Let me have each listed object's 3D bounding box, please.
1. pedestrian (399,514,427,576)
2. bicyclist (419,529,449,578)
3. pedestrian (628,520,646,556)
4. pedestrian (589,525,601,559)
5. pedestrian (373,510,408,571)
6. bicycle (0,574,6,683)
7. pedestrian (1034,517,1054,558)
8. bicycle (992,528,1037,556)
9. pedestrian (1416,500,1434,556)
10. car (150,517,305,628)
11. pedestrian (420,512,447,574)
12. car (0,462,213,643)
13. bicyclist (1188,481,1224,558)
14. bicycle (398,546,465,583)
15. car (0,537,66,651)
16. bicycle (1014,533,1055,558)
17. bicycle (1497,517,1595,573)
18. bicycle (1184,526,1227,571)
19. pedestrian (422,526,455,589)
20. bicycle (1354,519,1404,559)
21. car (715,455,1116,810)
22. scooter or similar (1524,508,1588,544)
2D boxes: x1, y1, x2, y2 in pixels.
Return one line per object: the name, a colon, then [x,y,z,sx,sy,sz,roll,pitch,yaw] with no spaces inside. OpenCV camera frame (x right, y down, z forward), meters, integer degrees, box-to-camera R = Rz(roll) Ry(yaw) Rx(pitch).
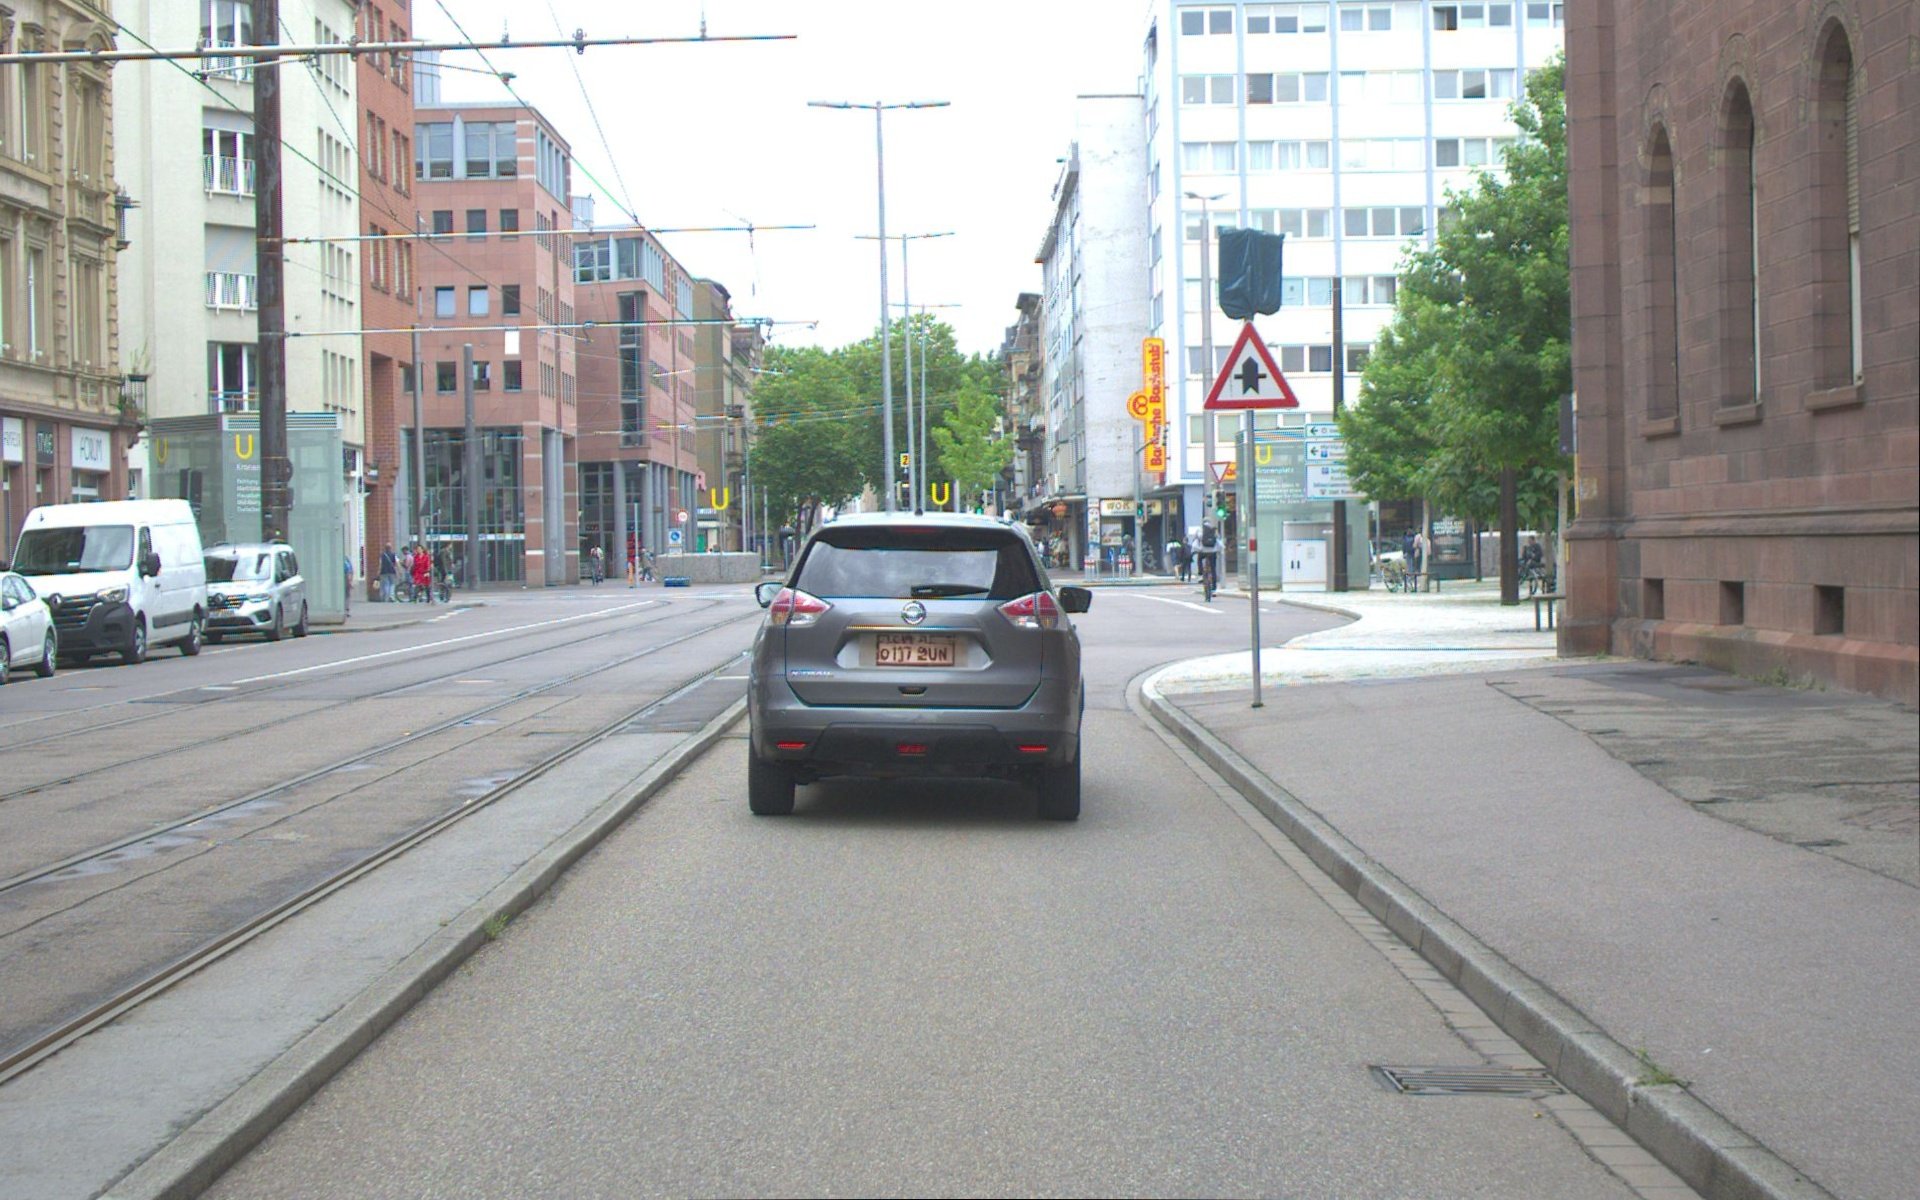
pedestrian: [-15.126,-1.516,95.101,0.720,1.681,0.662,-1,0,-11]
bicyclist: [-15.426,-1.359,100.880,0.809,1.402,0.480,-2,1,-6]
pedestrian: [-16.399,-3.143,174.674,0.701,1.835,0.734,0,1,15]
pedestrian: [-16.694,-2.660,157.265,0.449,1.527,0.522,0,1,-18]
pedestrian: [-16.000,-1.671,96.612,0.868,1.681,0.662,-1,0,-15]
bicycle: [-10.105,0.285,34.148,0.585,1.170,2.045,-3,1,1]
pedestrian: [3.576,-2.669,146.283,0.732,1.740,0.663,0,1,-8]
bicycle: [2.349,-2.485,147.341,1.867,1.168,0.531,0,1,-14]
pedestrian: [13.023,-2.020,96.277,0.432,1.550,0.499,0,1,0]
car: [-13.295,-0.528,62.657,1.902,1.858,4.521,-3,1,-2]
pedestrian: [-14.425,-1.557,94.202,0.660,1.681,0.723,-1,0,-13]
car: [-13.005,-0.738,52.278,2.053,2.478,5.666,-3,1,-1]
bicyclist: [5.822,-1.895,81.388,0.834,1.806,0.877,0,1,2]
bicycle: [-15.511,-1.044,100.870,1.905,1.017,0.481,-2,1,-7]
car: [-12.924,-0.047,44.259,1.771,1.418,4.165,-3,1,-2]
bicycle: [3.168,-2.335,146.886,1.695,1.062,0.437,0,1,-13]
bicycle: [11.742,-1.097,68.888,1.915,1.119,0.645,0,1,11]
bicycle: [5.808,-1.228,81.560,0.902,1.041,3.277,-1,1,2]
pedestrian: [-15.710,-1.288,103.582,0.896,1.883,0.799,0,0,-2]
bicycle: [10.562,-1.534,86.610,0.659,0.975,1.752,-1,1,28]
car: [-0.388,0.087,20.134,1.863,1.768,4.568,3,2,-6]
scooter or similar: [16.880,-2.094,97.369,1.590,0.945,0.723,-2,1,38]
